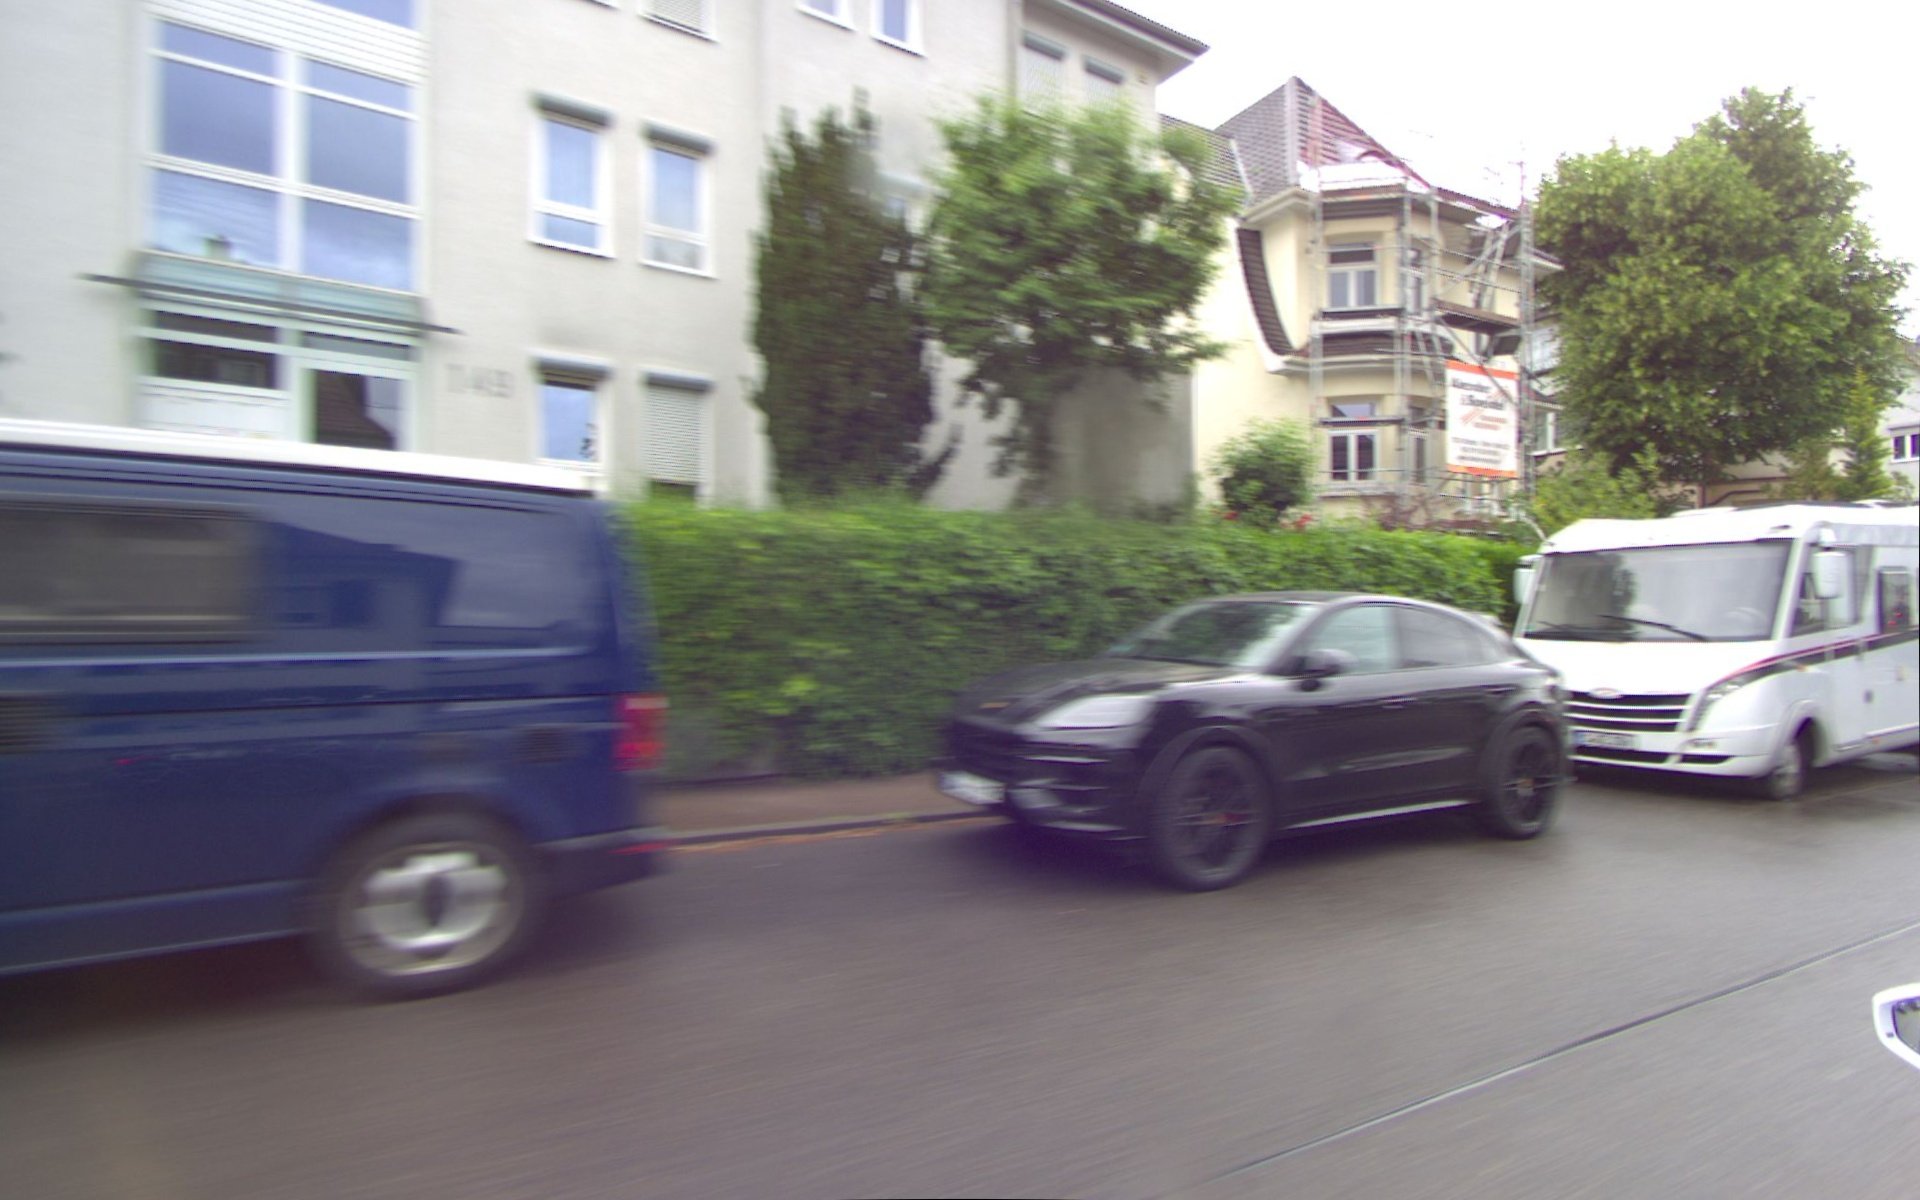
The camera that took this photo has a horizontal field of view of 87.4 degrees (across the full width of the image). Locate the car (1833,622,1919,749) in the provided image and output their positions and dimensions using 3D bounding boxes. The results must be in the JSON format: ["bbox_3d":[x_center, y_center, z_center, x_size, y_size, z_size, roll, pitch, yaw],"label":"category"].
[{"bbox_3d":[13.121,1.074,13.054,3.215,1.467,1.705,-1,1,-29],"label":"car"}]

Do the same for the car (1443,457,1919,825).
[{"bbox_3d":[8.067,0.300,10.307,6.453,2.809,2.380,0,1,-30],"label":"car"}]

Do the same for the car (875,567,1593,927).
[{"bbox_3d":[1.939,0.663,6.764,4.619,1.711,1.985,-1,1,-29],"label":"car"}]

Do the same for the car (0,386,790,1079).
[{"bbox_3d":[-3.330,0.395,3.809,4.955,2.083,1.819,2,0,-33],"label":"car"}]
